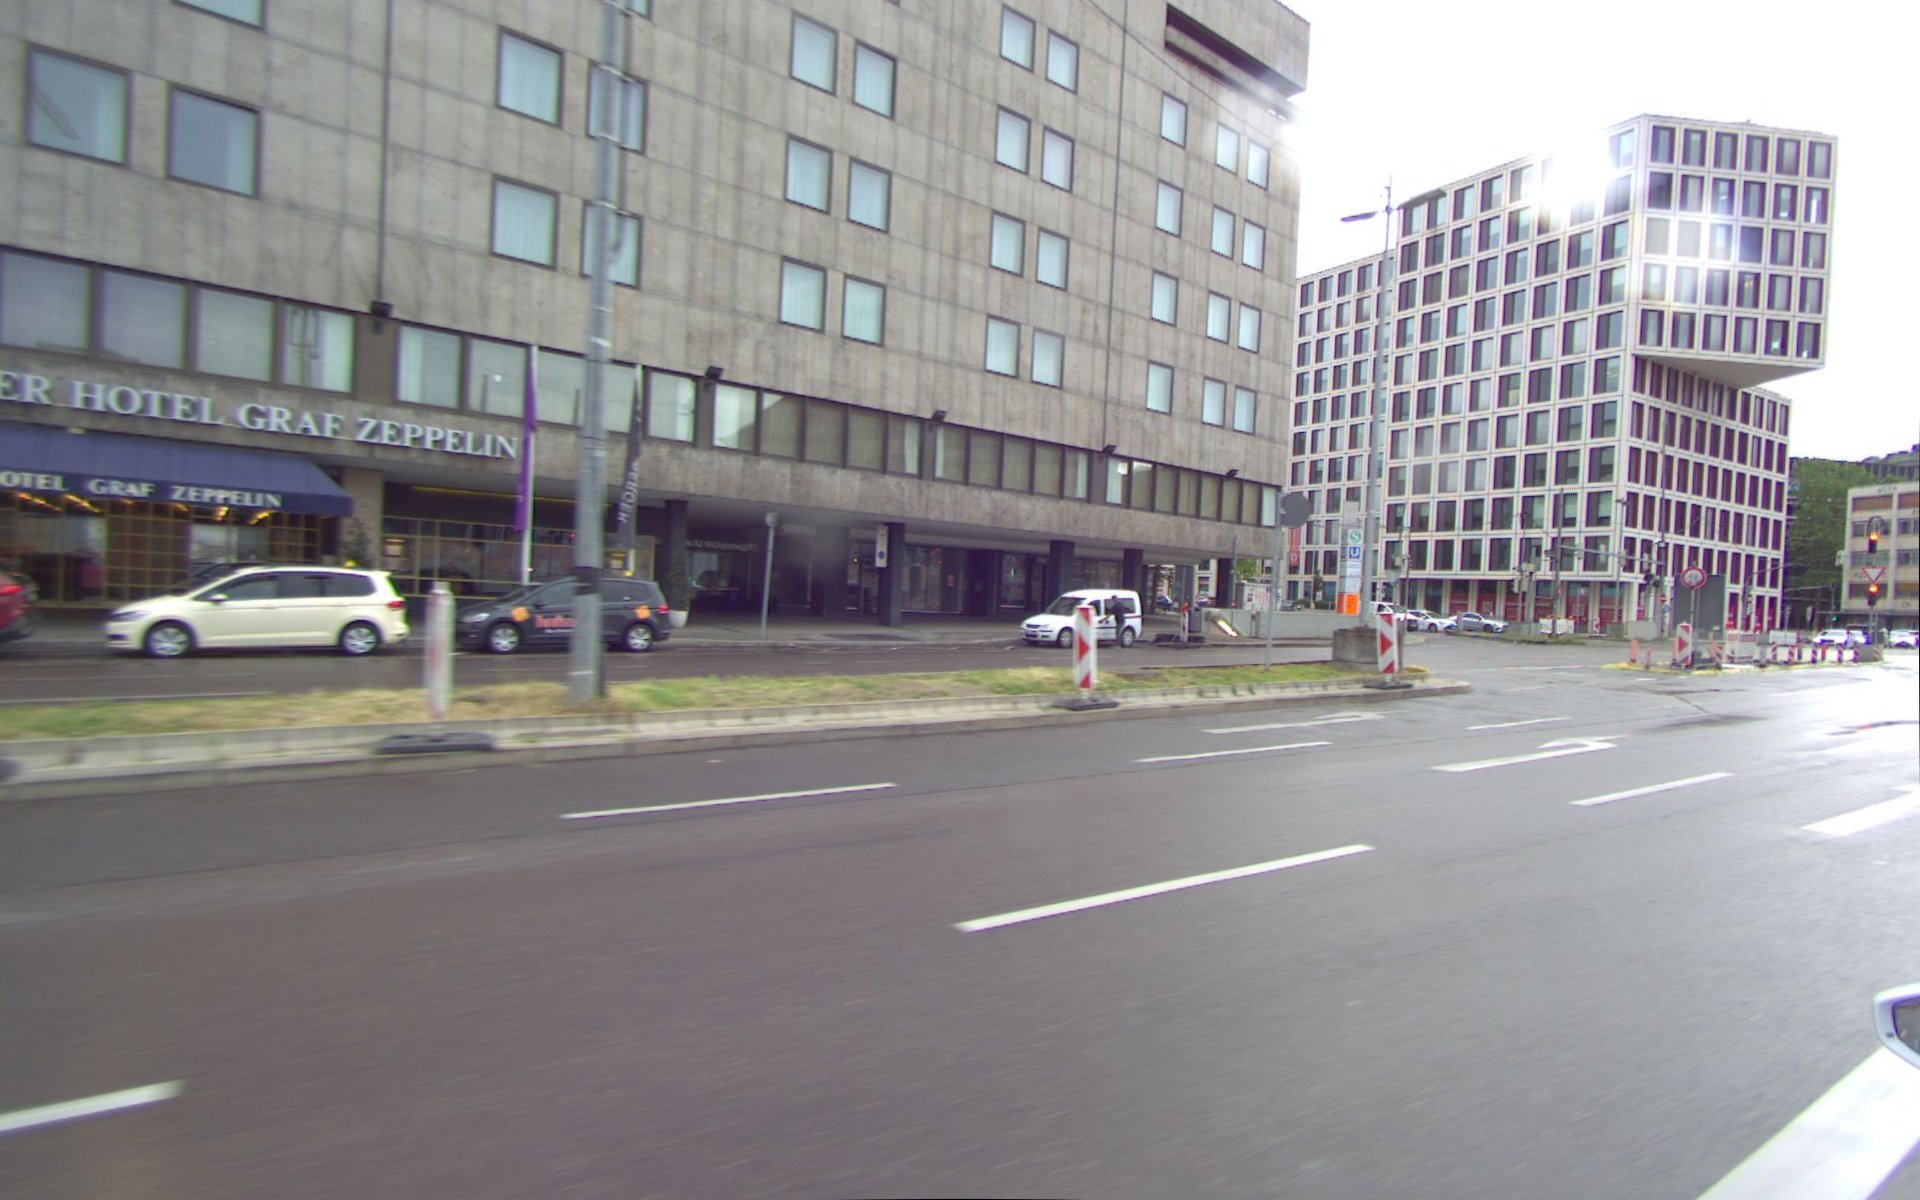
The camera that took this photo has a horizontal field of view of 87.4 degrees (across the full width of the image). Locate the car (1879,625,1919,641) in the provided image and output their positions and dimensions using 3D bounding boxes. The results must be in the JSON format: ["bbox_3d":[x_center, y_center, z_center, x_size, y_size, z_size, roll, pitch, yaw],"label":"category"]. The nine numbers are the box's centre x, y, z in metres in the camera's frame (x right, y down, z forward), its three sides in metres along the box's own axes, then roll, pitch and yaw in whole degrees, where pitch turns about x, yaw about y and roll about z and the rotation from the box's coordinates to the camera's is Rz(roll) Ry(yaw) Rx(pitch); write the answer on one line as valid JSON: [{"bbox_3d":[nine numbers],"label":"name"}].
[{"bbox_3d":[97.528,3.427,103.396,1.704,1.512,4.071,2,0,-9],"label":"car"}]

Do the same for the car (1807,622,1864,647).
[{"bbox_3d":[66.945,2.670,76.807,4.765,1.776,2.207,2,0,-35],"label":"car"}]

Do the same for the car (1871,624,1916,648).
[{"bbox_3d":[81.296,3.125,87.489,1.772,1.840,3.995,2,1,27],"label":"car"}]

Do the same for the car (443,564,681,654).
[{"bbox_3d":[-8.541,0.210,21.721,4.470,1.751,1.804,2,0,-36],"label":"car"}]

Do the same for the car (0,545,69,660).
[{"bbox_3d":[-16.857,-0.026,15.352,4.601,1.791,1.889,2,0,-36],"label":"car"}]

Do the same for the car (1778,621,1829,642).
[{"bbox_3d":[81.128,3.009,96.696,1.769,1.840,4.002,2,1,6],"label":"car"}]

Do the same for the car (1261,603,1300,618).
[{"bbox_3d":[34.629,1.104,108.661,1.842,1.543,3.975,2,0,-25],"label":"car"}]

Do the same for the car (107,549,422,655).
[{"bbox_3d":[-12.613,0.069,18.472,4.537,1.720,1.802,2,0,-38],"label":"car"}]

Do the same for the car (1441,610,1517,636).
[{"bbox_3d":[37.187,1.624,72.080,1.991,1.620,4.634,2,0,-25],"label":"car"}]

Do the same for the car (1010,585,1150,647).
[{"bbox_3d":[3.787,0.497,31.399,4.332,1.786,1.760,2,1,-38],"label":"car"}]

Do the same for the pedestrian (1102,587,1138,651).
[{"bbox_3d":[4.886,0.576,30.599,0.789,1.911,0.686,1,1,-38],"label":"pedestrian"}]

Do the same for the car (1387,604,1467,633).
[{"bbox_3d":[32.009,1.239,68.958,1.994,1.761,4.626,2,0,-29],"label":"car"}]

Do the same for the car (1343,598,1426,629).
[{"bbox_3d":[28.688,0.886,68.090,2.061,1.930,5.049,2,0,-27],"label":"car"}]
